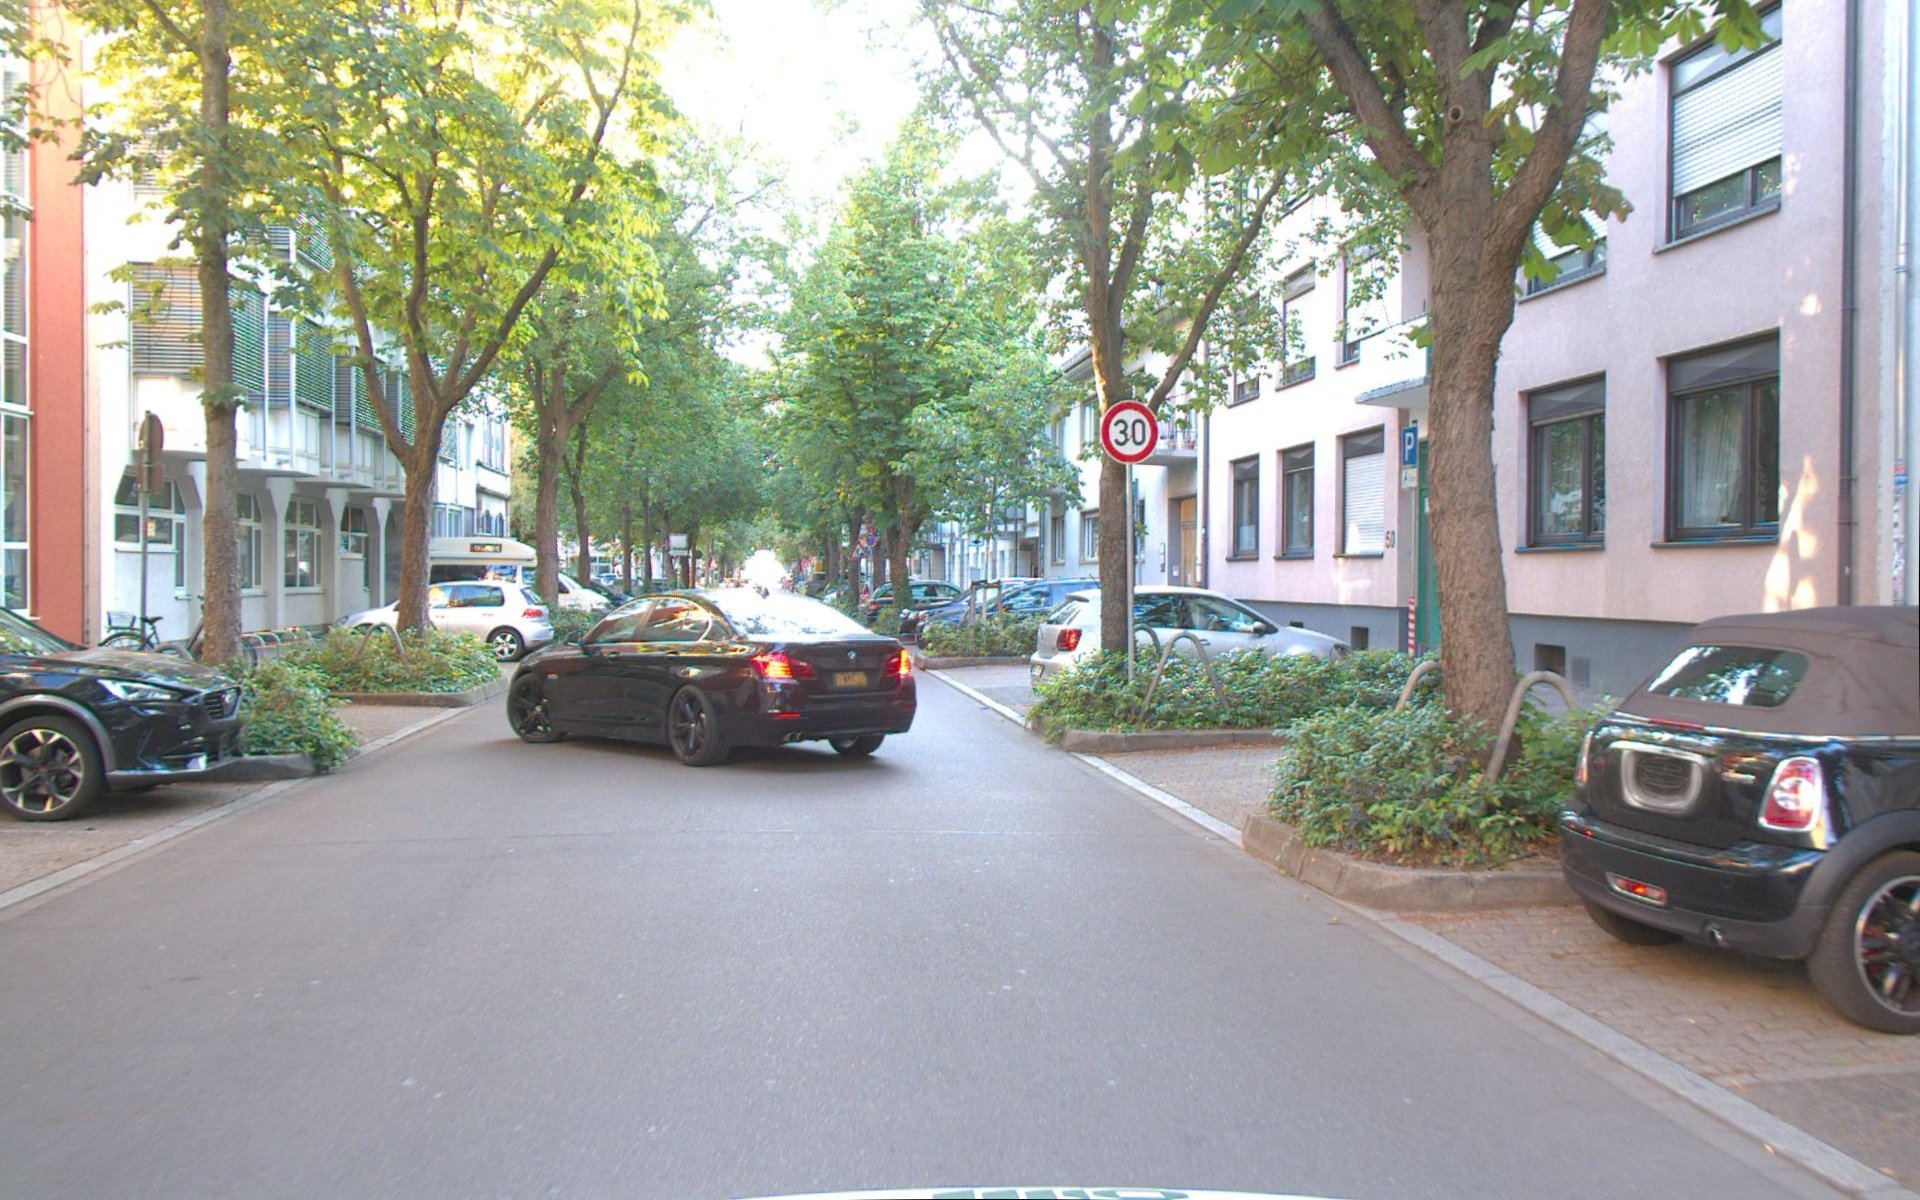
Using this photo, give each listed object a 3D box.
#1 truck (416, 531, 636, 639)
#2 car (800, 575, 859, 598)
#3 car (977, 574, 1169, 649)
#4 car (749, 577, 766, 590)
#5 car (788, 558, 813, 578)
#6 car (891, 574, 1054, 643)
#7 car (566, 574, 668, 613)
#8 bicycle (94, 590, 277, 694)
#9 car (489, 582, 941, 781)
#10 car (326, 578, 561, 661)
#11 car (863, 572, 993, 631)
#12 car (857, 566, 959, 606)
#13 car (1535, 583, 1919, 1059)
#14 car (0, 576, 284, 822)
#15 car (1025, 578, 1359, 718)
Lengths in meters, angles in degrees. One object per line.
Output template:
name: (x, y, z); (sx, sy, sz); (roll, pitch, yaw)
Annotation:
truck: (-10.487, -0.377, 40.247); (4.903, 2.483, 1.914); (1, 2, -6)
car: (-8.222, -0.843, 104.019); (3.589, 1.417, 1.563); (0, 1, -9)
car: (2.231, 0.202, 33.171); (3.589, 1.417, 1.563); (-1, 1, -9)
car: (-24.094, -1.939, 196.872); (1.858, 1.500, 3.995); (0, 1, -6)
car: (-12.948, -2.605, 134.200); (1.956, 1.579, 3.994); (0, 1, -7)
car: (0.277, 0.189, 39.587); (3.722, 1.556, 1.563); (-1, 1, -9)
car: (-14.007, -0.263, 67.734); (3.945, 1.497, 1.638); (1, 1, -7)
bicycle: (-9.311, 0.489, 19.955); (1.939, 1.220, 0.499); (0, 1, -18)
car: (-2.342, 0.593, 14.821); (1.754, 1.475, 4.595); (-1, 1, -43)
car: (-9.878, 0.356, 31.883); (4.053, 1.497, 1.638); (1, 1, -7)
car: (-0.943, 0.023, 48.316); (3.589, 1.563, 1.563); (-2, 1, -9)
car: (-1.937, -0.515, 61.193); (3.589, 1.417, 1.563); (-1, 1, -9)
car: (4.369, 0.667, 6.528); (3.638, 1.452, 1.623); (-3, 1, -12)
car: (-7.097, 0.602, 11.221); (4.274, 1.535, 1.832); (1, 1, -7)
car: (2.671, 0.519, 19.379); (3.589, 1.505, 1.563); (-1, 1, -9)
